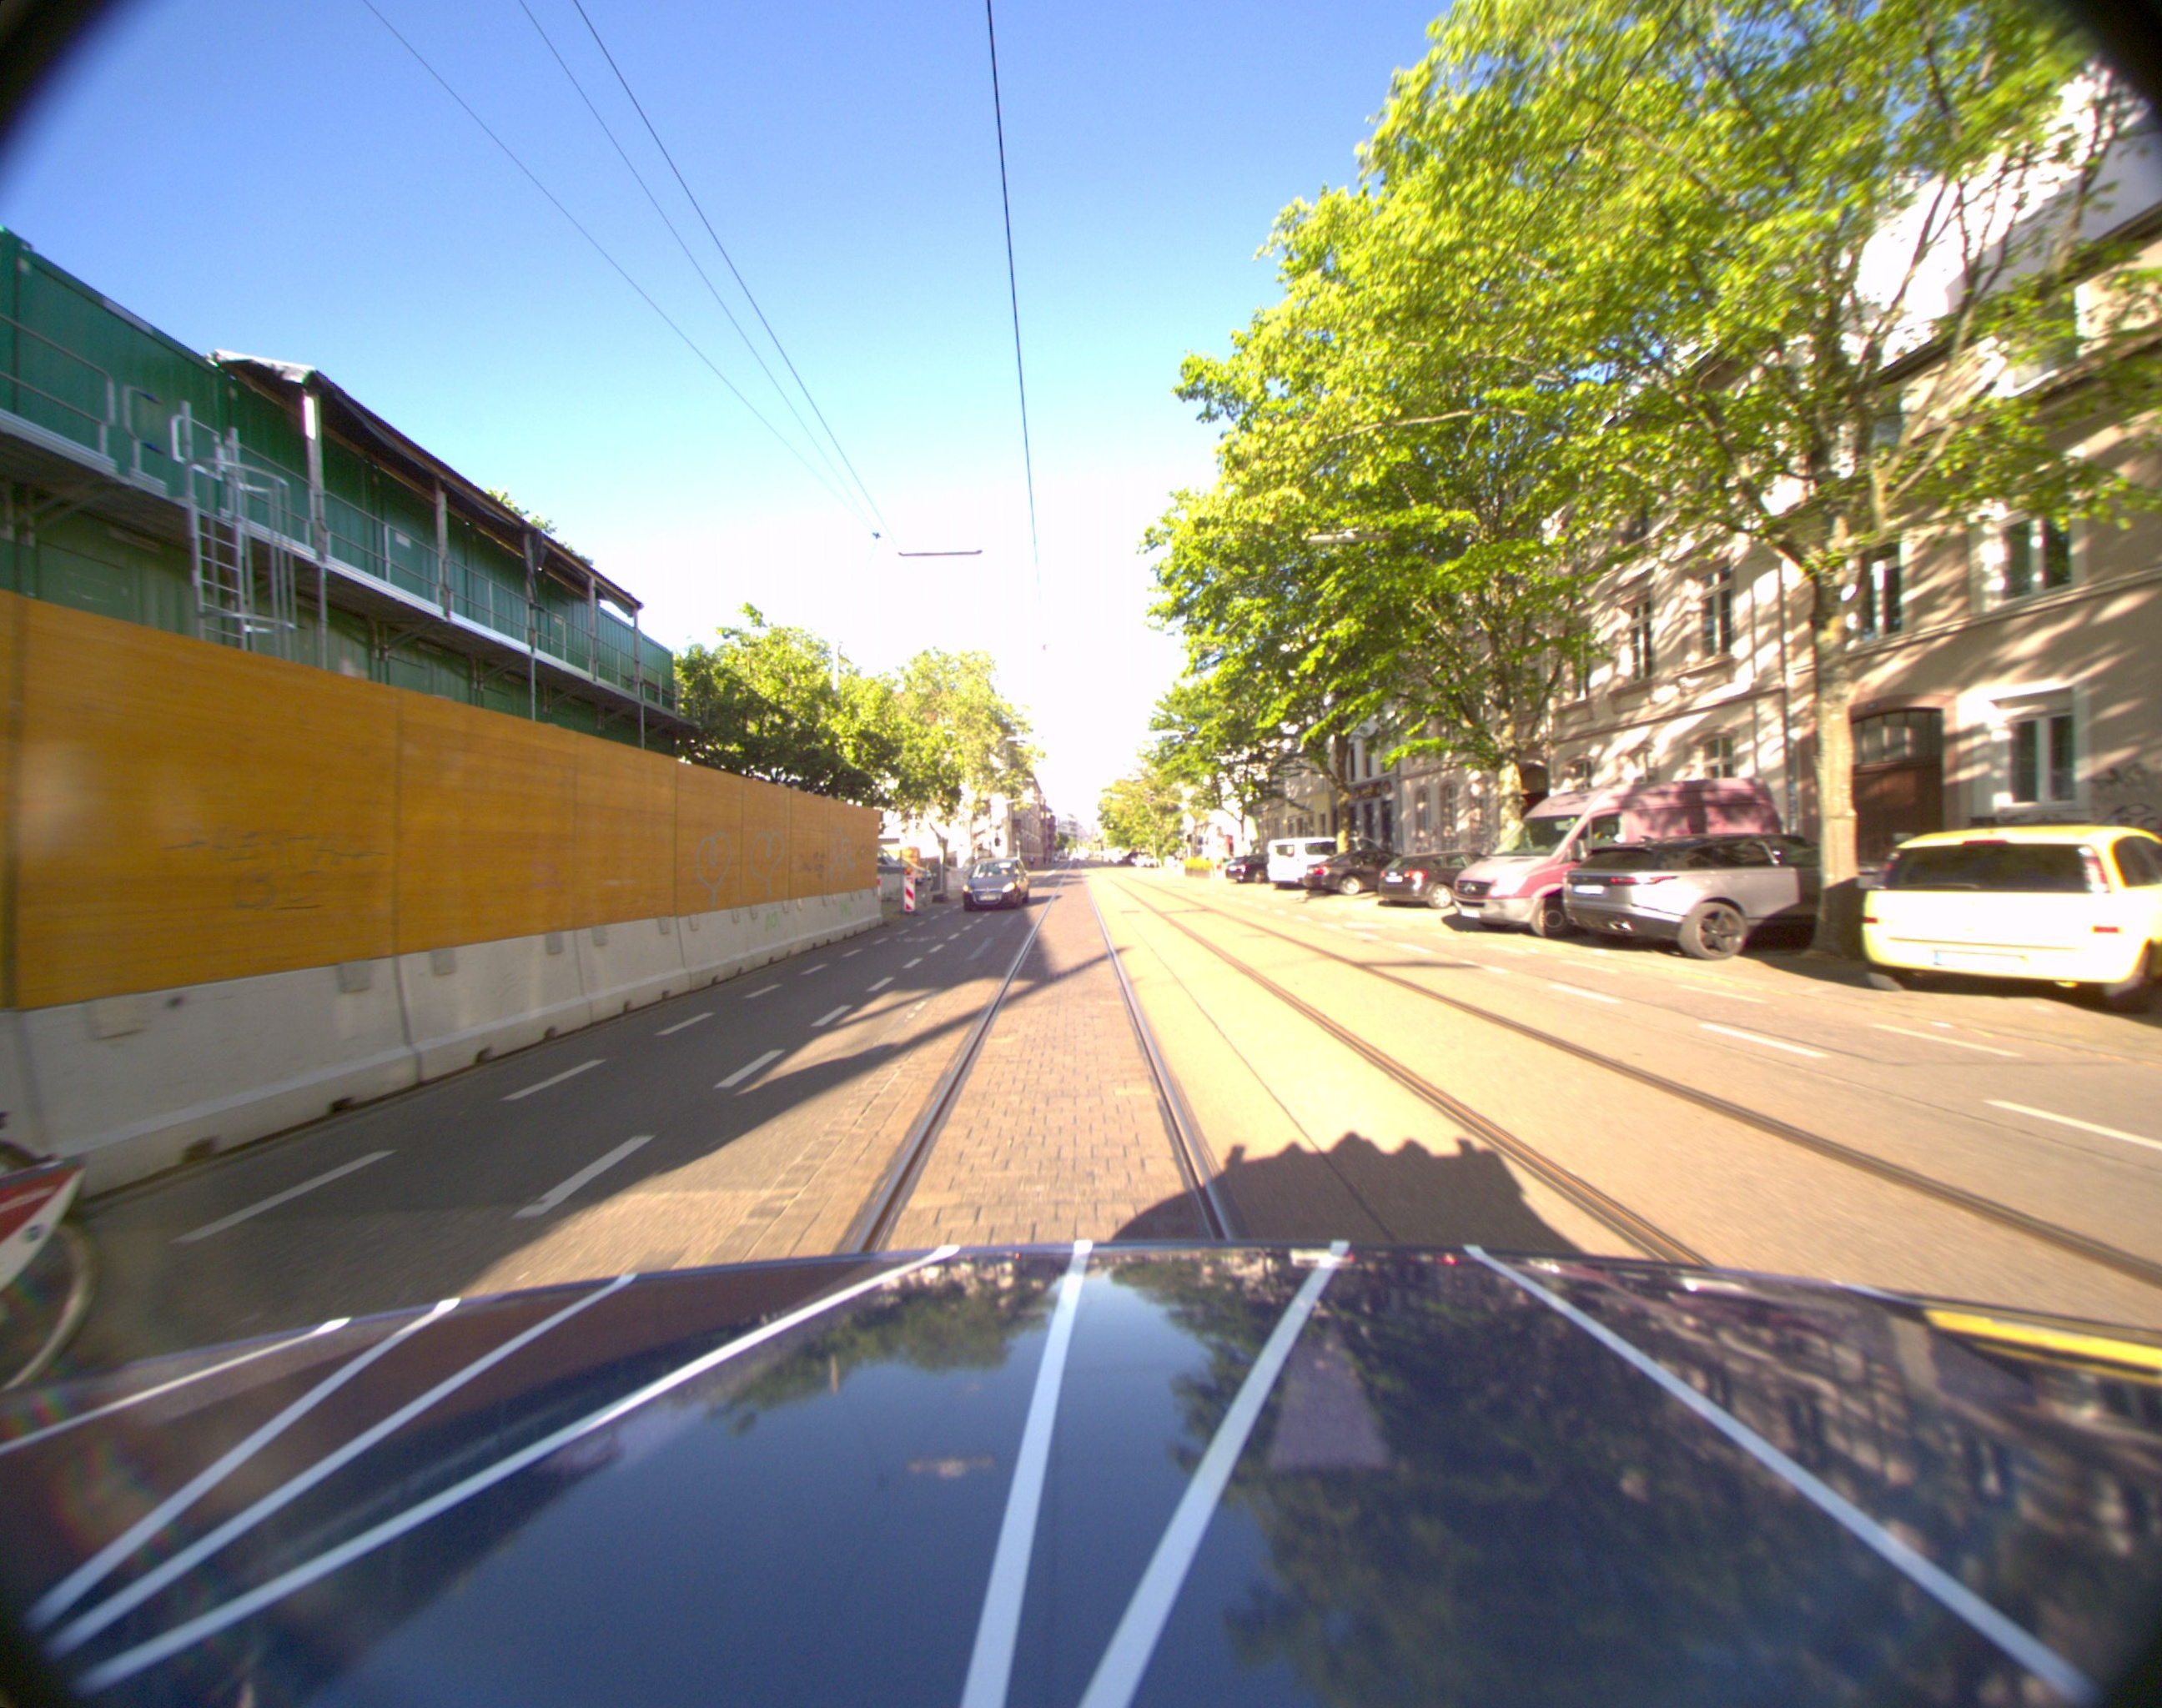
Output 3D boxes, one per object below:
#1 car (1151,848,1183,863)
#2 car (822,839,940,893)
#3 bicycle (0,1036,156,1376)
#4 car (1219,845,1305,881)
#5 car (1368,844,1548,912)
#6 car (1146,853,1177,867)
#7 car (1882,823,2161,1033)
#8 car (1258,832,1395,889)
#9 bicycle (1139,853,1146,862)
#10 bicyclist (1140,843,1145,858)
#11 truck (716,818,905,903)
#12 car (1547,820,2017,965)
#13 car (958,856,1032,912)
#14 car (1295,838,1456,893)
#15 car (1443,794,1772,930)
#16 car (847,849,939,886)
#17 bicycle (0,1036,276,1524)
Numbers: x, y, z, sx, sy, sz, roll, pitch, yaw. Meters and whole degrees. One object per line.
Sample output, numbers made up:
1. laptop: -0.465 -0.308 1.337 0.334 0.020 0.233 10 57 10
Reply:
1. car: 9.243 0.143 82.101 3.336 1.445 1.496 -3 2 6
2. car: -9.942 0.562 38.034 5.336 2.547 2.013 -1 1 -1
3. bicycle: -4.174 1.338 2.082 0.559 1.120 2.275 -1 0 -3
4. car: 9.017 0.438 37.812 4.005 1.549 1.777 -3 1 -30
5. car: 9.783 0.581 19.772 4.101 1.445 1.668 -3 1 -15
6. car: 9.230 0.668 87.003 3.337 1.445 1.496 -3 2 1
7. car: 9.605 0.565 7.494 3.378 1.544 1.381 -5 2 -26
8. car: 9.591 0.210 29.662 4.946 2.002 2.071 -1 0 -24
9. bicycle: 6.351 0.325 78.160 0.451 0.930 1.757 -1 0 -4
10. bicyclist: 6.350 -0.374 78.176 0.419 1.462 0.590 -1 1 -3
11. truck: -11.283 0.245 32.159 7.093 3.399 2.371 -1 1 -1
12. car: 9.769 0.483 10.912 4.842 1.714 2.163 -2 0 -2
13. car: -2.697 0.890 24.810 1.749 1.612 4.170 -2 0 2
14. car: 10.025 0.380 26.049 4.708 1.567 1.953 -3 0 -5
15. car: 9.281 0.117 13.697 4.449 2.105 2.163 -2 0 -2
16. car: -10.970 0.771 44.476 4.794 1.998 2.000 -2 1 4
17. bicycle: -3.268 1.246 1.600 0.669 1.148 2.276 -3 0 0
